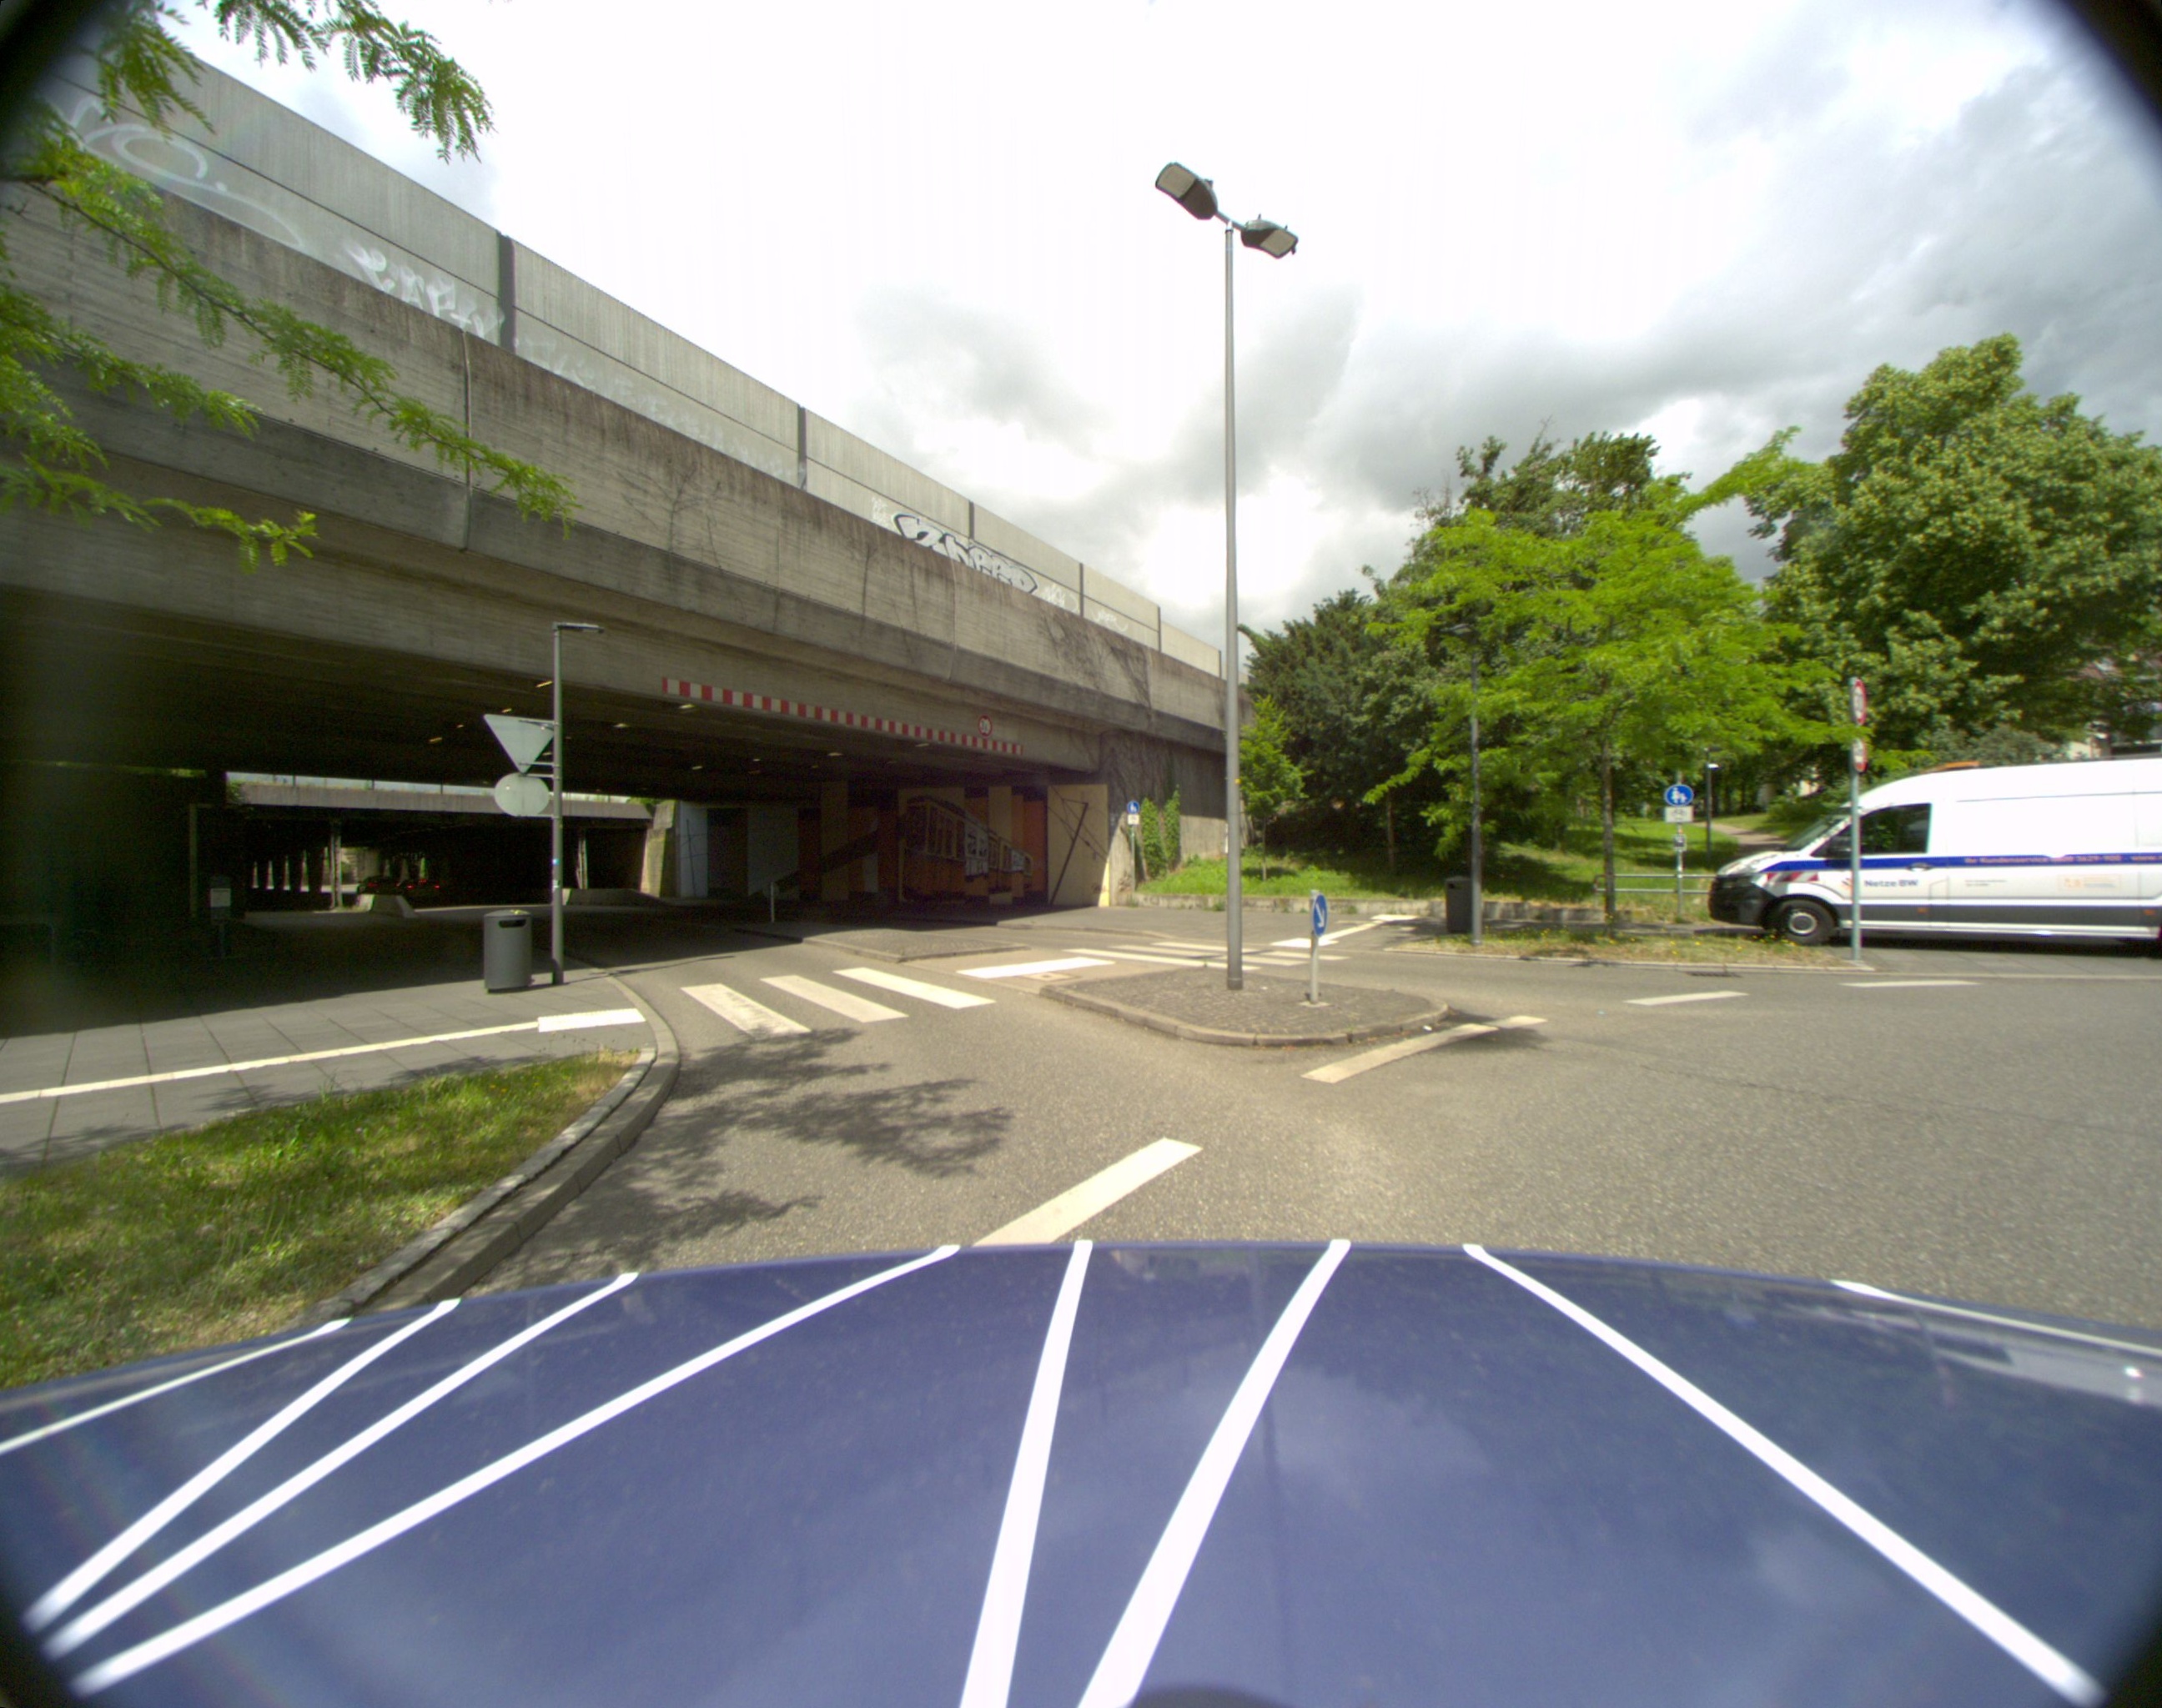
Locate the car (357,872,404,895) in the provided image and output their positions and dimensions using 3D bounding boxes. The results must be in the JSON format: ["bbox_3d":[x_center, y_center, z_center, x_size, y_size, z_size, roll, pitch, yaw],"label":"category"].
[{"bbox_3d":[-51.816,2.190,56.153,4.202,1.643,1.835,-2,-2,37],"label":"car"}]

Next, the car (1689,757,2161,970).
[{"bbox_3d":[12.601,0.125,10.934,5.914,2.592,1.978,-1,1,36],"label":"car"}]

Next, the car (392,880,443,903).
[{"bbox_3d":[-42.951,2.388,49.163,3.842,1.438,1.681,-2,-2,37],"label":"car"}]

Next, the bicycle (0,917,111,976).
[{"bbox_3d":[-17.900,1.568,12.775,0.505,0.899,1.956,0,-1,37],"label":"bicycle"}]
